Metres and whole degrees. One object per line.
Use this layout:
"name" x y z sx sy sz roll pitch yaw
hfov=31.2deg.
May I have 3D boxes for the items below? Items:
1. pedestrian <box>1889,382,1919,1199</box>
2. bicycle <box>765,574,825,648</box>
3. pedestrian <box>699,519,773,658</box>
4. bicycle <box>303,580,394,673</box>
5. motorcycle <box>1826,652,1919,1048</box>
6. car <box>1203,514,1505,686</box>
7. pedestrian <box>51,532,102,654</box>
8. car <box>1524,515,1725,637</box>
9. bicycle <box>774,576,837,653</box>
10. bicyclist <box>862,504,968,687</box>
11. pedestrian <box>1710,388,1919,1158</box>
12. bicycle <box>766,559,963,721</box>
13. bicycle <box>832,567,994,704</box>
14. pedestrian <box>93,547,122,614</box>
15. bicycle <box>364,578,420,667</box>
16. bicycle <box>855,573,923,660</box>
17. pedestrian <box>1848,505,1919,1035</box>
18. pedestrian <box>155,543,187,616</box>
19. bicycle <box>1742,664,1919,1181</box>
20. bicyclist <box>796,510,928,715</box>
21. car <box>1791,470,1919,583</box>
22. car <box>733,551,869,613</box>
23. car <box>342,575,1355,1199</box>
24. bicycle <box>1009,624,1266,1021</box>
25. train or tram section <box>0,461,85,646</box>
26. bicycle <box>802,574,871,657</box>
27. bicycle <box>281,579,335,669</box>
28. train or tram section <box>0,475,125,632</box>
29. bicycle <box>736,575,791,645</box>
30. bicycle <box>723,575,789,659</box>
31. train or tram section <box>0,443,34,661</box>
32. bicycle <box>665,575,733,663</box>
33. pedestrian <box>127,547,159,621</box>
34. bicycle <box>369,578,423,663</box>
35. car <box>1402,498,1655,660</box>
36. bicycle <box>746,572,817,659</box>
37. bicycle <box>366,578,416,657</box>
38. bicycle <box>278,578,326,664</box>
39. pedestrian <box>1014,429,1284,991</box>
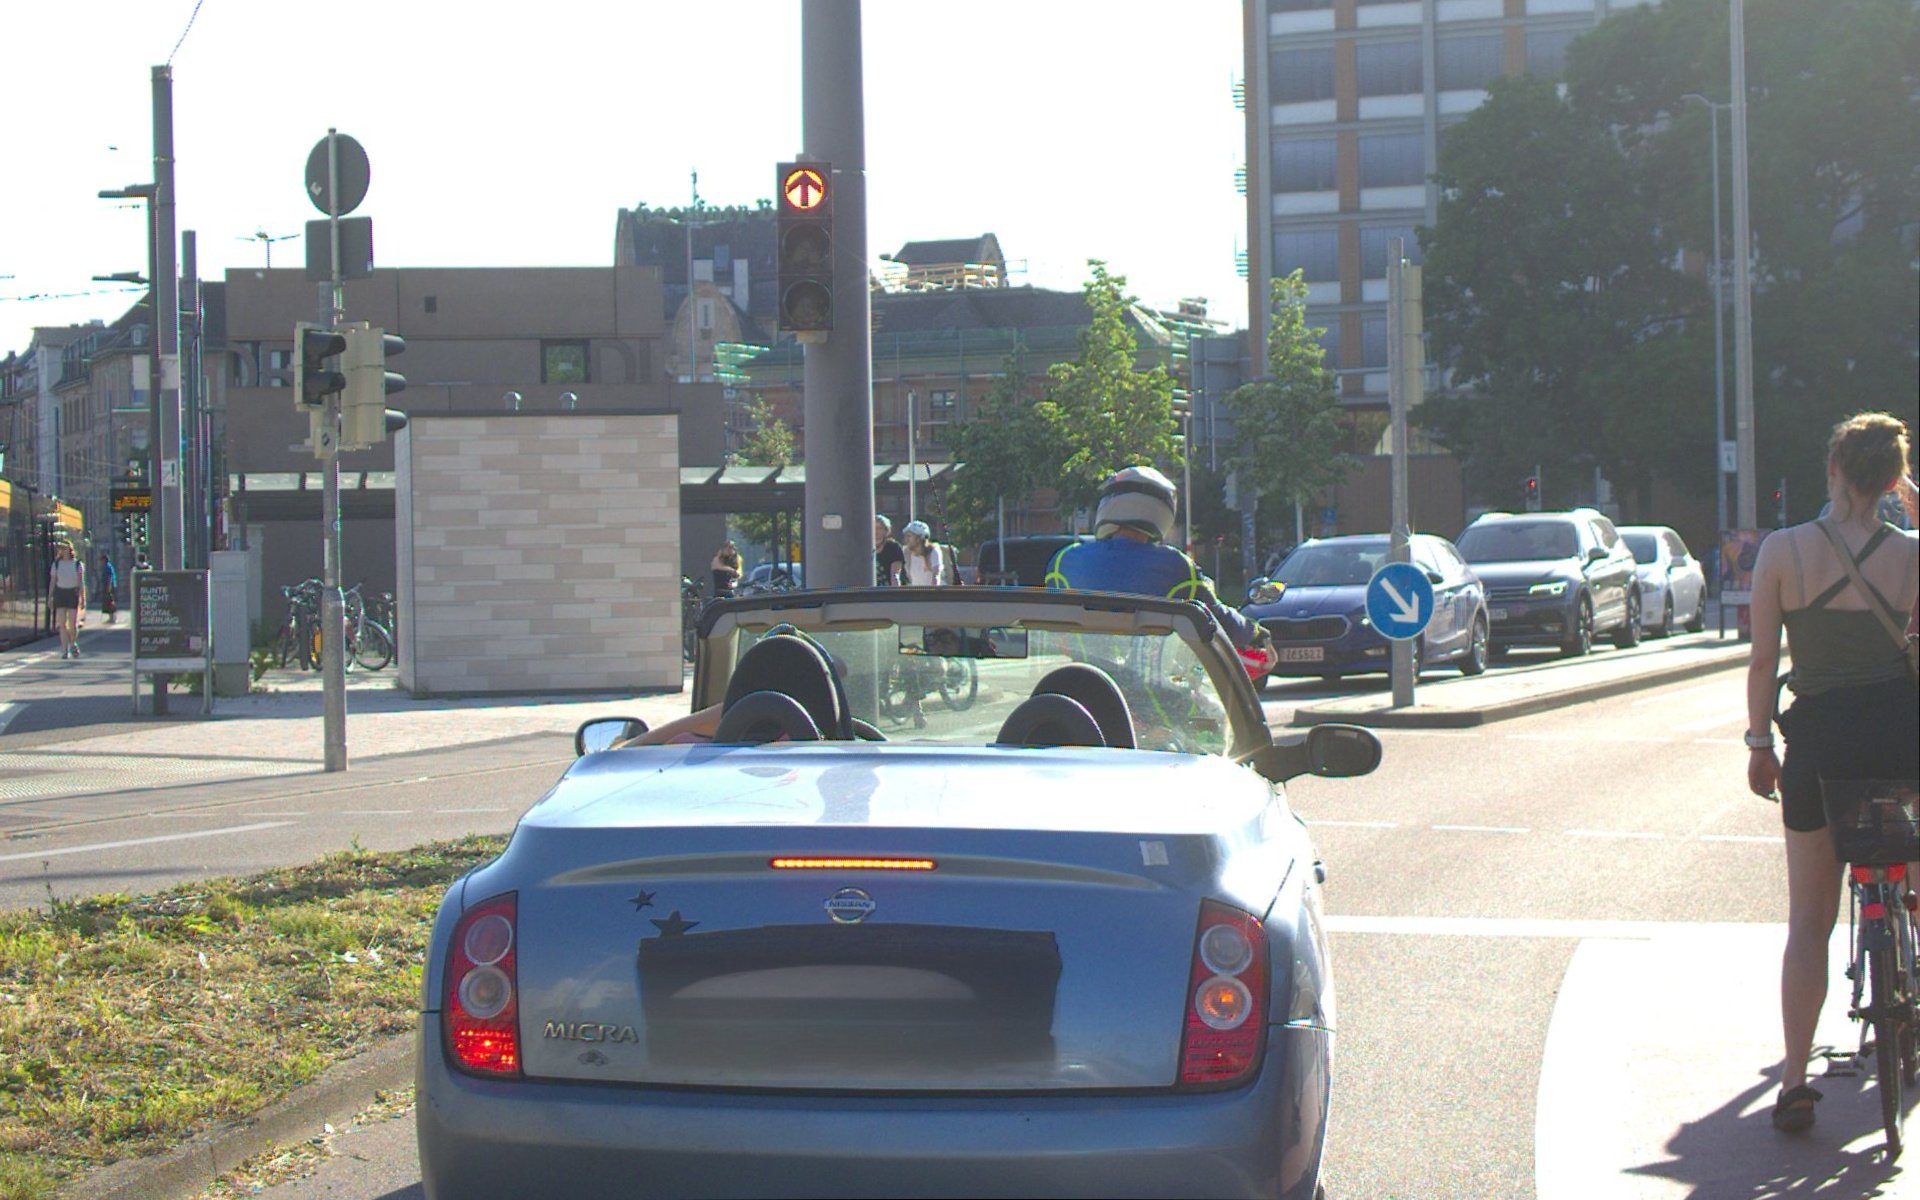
"pedestrian" 2.488 0.456 7.395 0.806 1.862 0.956 1 0 8
"bicycle" -2.562 0.161 53.241 0.606 1.111 1.897 1 1 -12
"pedestrian" -3.051 -0.158 46.784 0.900 1.862 0.687 1 0 -12
"bicycle" -7.547 0.317 42.463 0.607 1.111 1.896 1 1 5
"motorcycle" 3.172 0.746 11.077 0.614 1.094 2.358 1 1 17
"car" 3.913 -0.013 33.631 1.739 1.568 3.919 1 1 25
"pedestrian" -12.799 -0.099 49.780 0.637 1.743 0.572 -1 1 -19
"car" 9.000 -0.347 46.327 1.697 1.555 3.974 -1 1 25
"bicycle" -2.314 0.207 51.270 0.606 1.111 1.897 1 1 -12
"bicyclist" -0.410 -0.047 31.485 0.709 1.651 0.742 -1 1 22
"pedestrian" 2.285 0.414 8.782 0.659 1.862 0.872 1 0 15
"bicycle" -0.774 0.313 28.850 0.675 1.246 2.454 -3 0 22
"bicycle" -0.409 0.310 31.464 0.675 1.176 2.181 -1 1 22
"pedestrian" -22.296 -0.515 89.924 0.604 1.743 0.832 -1 1 -8
"bicycle" -7.341 0.277 44.399 0.606 1.111 1.897 1 1 -12
"bicycle" -0.948 0.207 45.564 0.606 1.111 1.897 1 1 -10
"pedestrian" 3.131 0.512 10.812 0.588 1.593 1.024 1 0 17
"pedestrian" -18.925 -0.496 82.487 0.637 1.743 0.736 -1 1 -19
"bicycle" 2.367 0.770 8.975 0.564 1.147 1.948 1 1 14
"bicyclist" -0.814 0.098 28.779 0.709 1.651 0.900 -3 0 22
"car" 16.744 -1.360 63.708 1.911 1.938 4.701 -2 0 21
"car" -4.123 -0.457 88.686 1.640 1.555 3.599 -2 1 -39
"car" 0.031 0.677 7.690 1.660 1.436 4.153 1 1 6
"bicycle" 0.656 0.699 11.900 0.608 1.187 2.414 1 1 9
"train or tram section" -20.510 -0.994 72.668 3.011 3.584 12.203 1 1 -10
"bicycle" -1.722 0.203 47.582 0.606 1.111 1.897 1 1 -12
"bicycle" -8.367 0.299 44.068 0.606 1.111 1.897 1 1 -12
"train or tram section" -22.578 -1.142 84.594 3.039 3.584 12.055 1 1 -9
"bicycle" -3.247 0.157 56.747 0.606 1.111 1.897 1 1 -12
"bicycle" -2.809 0.224 47.194 0.606 1.111 1.897 1 1 -12
"train or tram section" -18.168 -0.853 60.678 2.880 3.584 12.203 1 1 -12
"bicycle" -3.432 0.236 45.121 0.606 1.111 1.897 1 1 -12
"pedestrian" -19.543 -0.388 82.187 0.637 1.743 0.736 -1 1 -19
"bicycle" -7.630 0.266 46.462 0.606 1.111 1.897 1 1 -12
"car" 6.624 -0.271 39.655 1.763 1.700 4.525 -2 0 24
"bicycle" -2.358 0.191 45.262 0.606 1.111 1.897 1 1 -12
"bicycle" -8.331 0.244 50.337 0.606 1.111 1.897 1 1 -12
"bicycle" -8.801 0.275 45.993 0.606 1.111 1.897 1 1 -11
"pedestrian" 0.672 0.360 11.963 0.833 1.862 0.920 1 0 8
